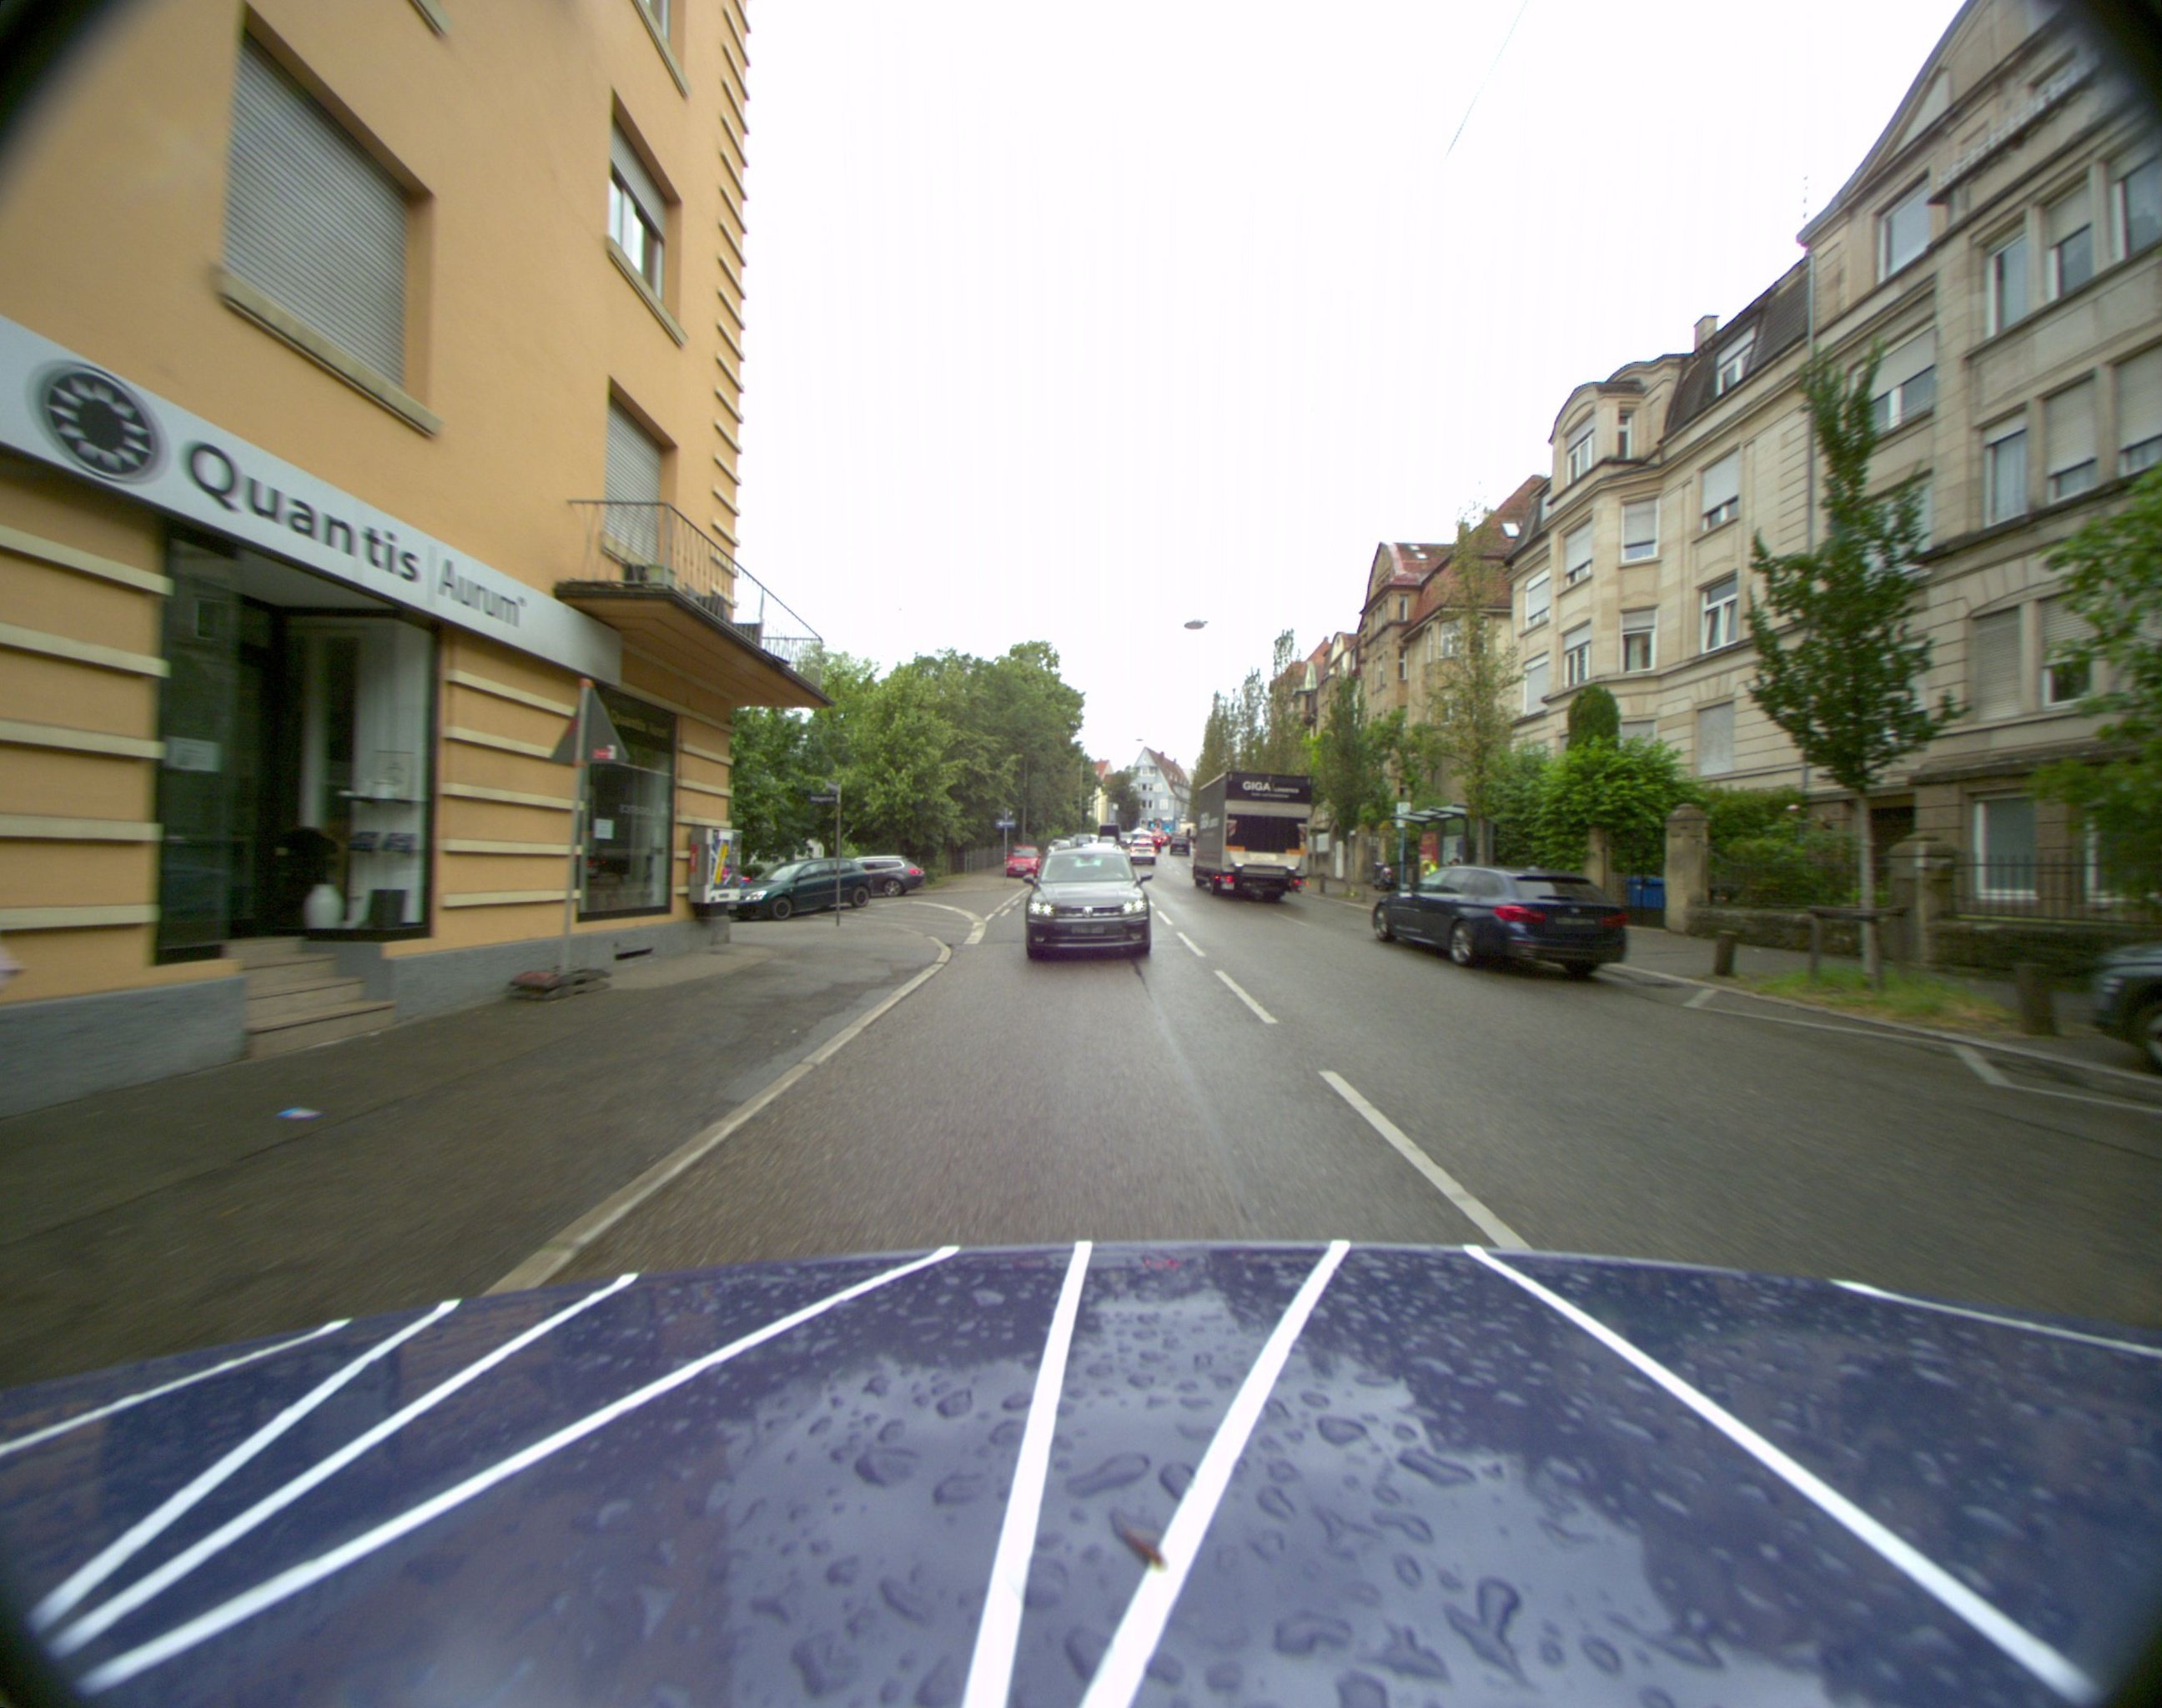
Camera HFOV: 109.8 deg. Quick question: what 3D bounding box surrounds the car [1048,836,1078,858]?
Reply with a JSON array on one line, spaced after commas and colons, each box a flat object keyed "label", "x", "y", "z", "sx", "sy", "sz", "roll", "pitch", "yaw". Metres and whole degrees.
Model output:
[{"label": "car", "x": -1.291, "y": -0.547, "z": 56.487, "sx": 1.745, "sy": 1.455, "sz": 4.883, "roll": 4, "pitch": 2, "yaw": 4}]

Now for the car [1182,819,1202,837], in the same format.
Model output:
[{"label": "car", "x": 16.348, "y": -3.796, "z": 111.433, "sx": 2.133, "sy": 2.492, "sz": 5.414, "roll": 3, "pitch": 2, "yaw": 15}]

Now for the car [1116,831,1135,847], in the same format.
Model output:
[{"label": "car", "x": 4.834, "y": -1.636, "z": 81.672, "sx": 1.924, "sy": 1.642, "sz": 4.135, "roll": -1, "pitch": 1, "yaw": 4}]

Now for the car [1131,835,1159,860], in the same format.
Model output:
[{"label": "car", "x": 4.206, "y": -0.474, "z": 50.574, "sx": 1.776, "sy": 1.509, "sz": 4.099, "roll": 1, "pitch": 2, "yaw": 4}]

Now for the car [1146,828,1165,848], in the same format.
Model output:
[{"label": "car", "x": 6.985, "y": -1.498, "z": 70.879, "sx": 1.655, "sy": 1.699, "sz": 4.114, "roll": 3, "pitch": 3, "yaw": 7}]

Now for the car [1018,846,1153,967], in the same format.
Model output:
[{"label": "car", "x": 0.100, "y": 0.700, "z": 13.118, "sx": 1.860, "sy": 1.641, "sz": 5.194, "roll": 0, "pitch": 1, "yaw": 1}]

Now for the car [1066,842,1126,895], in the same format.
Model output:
[{"label": "car", "x": 0.610, "y": 0.438, "z": 26.997, "sx": 1.925, "sy": 1.642, "sz": 4.486, "roll": -1, "pitch": 1, "yaw": 3}]

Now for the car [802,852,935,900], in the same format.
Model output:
[{"label": "car", "x": -7.608, "y": 0.774, "z": 27.599, "sx": 4.280, "sy": 1.489, "sz": 2.002, "roll": -3, "pitch": 0, "yaw": -4}]

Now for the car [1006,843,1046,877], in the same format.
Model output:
[{"label": "car", "x": -2.642, "y": 0.236, "z": 37.446, "sx": 1.613, "sy": 1.493, "sz": 3.957, "roll": 1, "pitch": 2, "yaw": 1}]

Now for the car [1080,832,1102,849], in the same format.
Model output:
[{"label": "car", "x": 1.051, "y": -1.458, "z": 78.328, "sx": 1.924, "sy": 1.553, "sz": 4.012, "roll": 4, "pitch": 3, "yaw": 5}]

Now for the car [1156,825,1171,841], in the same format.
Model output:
[{"label": "car", "x": 9.572, "y": -2.444, "z": 87.823, "sx": 1.655, "sy": 1.699, "sz": 4.114, "roll": 3, "pitch": 3, "yaw": 7}]

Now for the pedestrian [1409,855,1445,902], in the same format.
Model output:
[{"label": "pedestrian", "x": 10.894, "y": 0.764, "z": 23.961, "sx": 0.768, "sy": 1.424, "sz": 0.759, "roll": 1, "pitch": 2, "yaw": 1}]

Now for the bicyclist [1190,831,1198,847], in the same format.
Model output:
[{"label": "bicyclist", "x": 11.441, "y": -1.508, "z": 77.028, "sx": 0.657, "sy": 1.548, "sz": 0.990, "roll": 1, "pitch": 2, "yaw": -3}]

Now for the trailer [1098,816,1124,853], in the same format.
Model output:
[{"label": "trailer", "x": 2.557, "y": -1.625, "z": 64.217, "sx": 1.966, "sy": 3.024, "sz": 2.365, "roll": -1, "pitch": 2, "yaw": 6}]

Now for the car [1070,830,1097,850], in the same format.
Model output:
[{"label": "car", "x": 0.264, "y": -1.333, "z": 72.216, "sx": 1.971, "sy": 1.642, "sz": 4.816, "roll": 4, "pitch": 3, "yaw": 6}]

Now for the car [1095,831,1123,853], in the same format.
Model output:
[{"label": "car", "x": 2.291, "y": -1.006, "z": 61.367, "sx": 1.924, "sy": 1.642, "sz": 4.135, "roll": -1, "pitch": 1, "yaw": 6}]

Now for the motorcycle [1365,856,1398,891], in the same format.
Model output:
[{"label": "motorcycle", "x": 11.367, "y": 0.708, "z": 28.786, "sx": 0.657, "sy": 1.230, "sz": 1.763, "roll": 1, "pitch": 2, "yaw": 4}]

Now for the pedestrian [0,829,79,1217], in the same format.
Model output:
[{"label": "pedestrian", "x": -4.766, "y": 0.693, "z": 2.941, "sx": 0.769, "sy": 1.581, "sz": 0.711, "roll": 0, "pitch": 2, "yaw": -18}]

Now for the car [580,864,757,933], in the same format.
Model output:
[{"label": "car", "x": -10.503, "y": 1.067, "z": 19.622, "sx": 1.704, "sy": 1.483, "sz": 3.643, "roll": -1, "pitch": 1, "yaw": 27}]

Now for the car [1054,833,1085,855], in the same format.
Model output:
[{"label": "car", "x": -0.906, "y": -0.856, "z": 61.890, "sx": 1.924, "sy": 1.642, "sz": 4.884, "roll": 4, "pitch": 2, "yaw": 5}]

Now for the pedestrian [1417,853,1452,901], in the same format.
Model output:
[{"label": "pedestrian", "x": 10.869, "y": 0.708, "z": 23.372, "sx": 0.768, "sy": 1.424, "sz": 0.649, "roll": 1, "pitch": 2, "yaw": 3}]

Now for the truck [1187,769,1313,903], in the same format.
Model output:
[{"label": "truck", "x": 5.570, "y": -0.611, "z": 26.870, "sx": 2.654, "sy": 3.833, "sz": 9.306, "roll": 2, "pitch": 1, "yaw": 3}]

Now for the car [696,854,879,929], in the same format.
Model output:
[{"label": "car", "x": -7.635, "y": 0.908, "z": 20.171, "sx": 1.850, "sy": 1.461, "sz": 4.116, "roll": -1, "pitch": 4, "yaw": 33}]

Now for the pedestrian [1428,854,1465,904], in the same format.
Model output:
[{"label": "pedestrian", "x": 10.940, "y": 0.739, "z": 22.740, "sx": 0.768, "sy": 1.424, "sz": 0.649, "roll": 1, "pitch": 2, "yaw": 3}]

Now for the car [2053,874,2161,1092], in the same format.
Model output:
[{"label": "car", "x": 8.907, "y": 0.996, "z": 4.100, "sx": 1.746, "sy": 1.550, "sz": 4.300, "roll": -3, "pitch": 2, "yaw": -2}]

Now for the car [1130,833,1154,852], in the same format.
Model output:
[{"label": "car", "x": 5.168, "y": -0.948, "z": 63.943, "sx": 1.715, "sy": 1.471, "sz": 4.115, "roll": 3, "pitch": 2, "yaw": 7}]

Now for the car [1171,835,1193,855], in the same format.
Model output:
[{"label": "car", "x": 9.024, "y": -0.837, "z": 68.090, "sx": 1.747, "sy": 1.509, "sz": 3.869, "roll": 4, "pitch": 3, "yaw": 7}]

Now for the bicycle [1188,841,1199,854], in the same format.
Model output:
[{"label": "bicycle", "x": 11.413, "y": -0.677, "z": 77.187, "sx": 0.657, "sy": 1.229, "sz": 1.980, "roll": 1, "pitch": 2, "yaw": -3}]

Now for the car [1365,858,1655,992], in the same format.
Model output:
[{"label": "car", "x": 6.197, "y": 0.897, "z": 11.784, "sx": 1.776, "sy": 1.459, "sz": 4.746, "roll": 1, "pitch": 2, "yaw": 0}]
